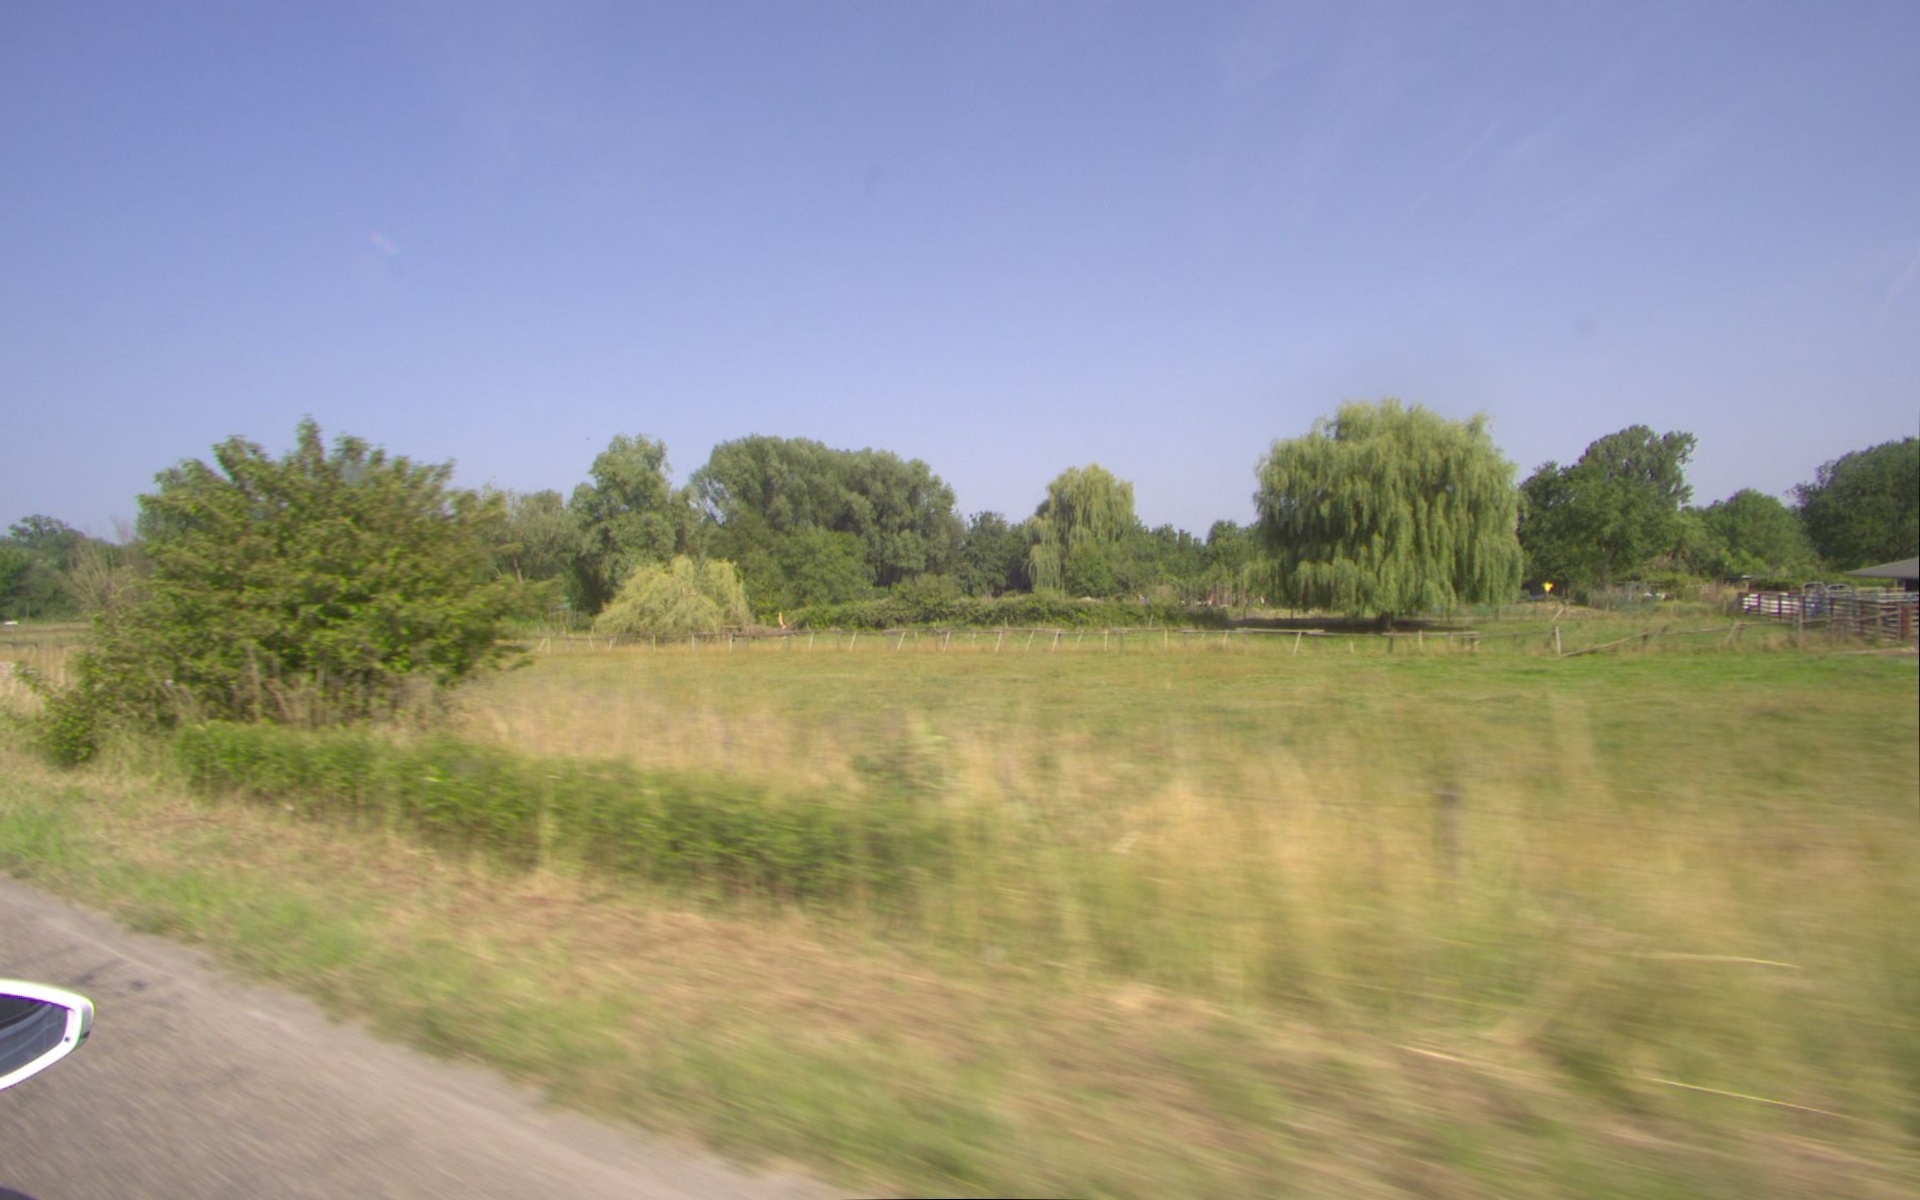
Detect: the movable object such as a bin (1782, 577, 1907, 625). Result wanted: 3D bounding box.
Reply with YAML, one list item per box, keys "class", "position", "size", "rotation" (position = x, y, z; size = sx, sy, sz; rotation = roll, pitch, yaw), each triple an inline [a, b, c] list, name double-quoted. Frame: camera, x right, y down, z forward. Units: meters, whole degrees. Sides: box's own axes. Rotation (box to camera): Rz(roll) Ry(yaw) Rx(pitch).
- class: "movable object such as a bin"
  position: [42.319, 0.097, 48.034]
  size: [4.100, 2.222, 1.992]
  rotation: [-1, -1, 29]
